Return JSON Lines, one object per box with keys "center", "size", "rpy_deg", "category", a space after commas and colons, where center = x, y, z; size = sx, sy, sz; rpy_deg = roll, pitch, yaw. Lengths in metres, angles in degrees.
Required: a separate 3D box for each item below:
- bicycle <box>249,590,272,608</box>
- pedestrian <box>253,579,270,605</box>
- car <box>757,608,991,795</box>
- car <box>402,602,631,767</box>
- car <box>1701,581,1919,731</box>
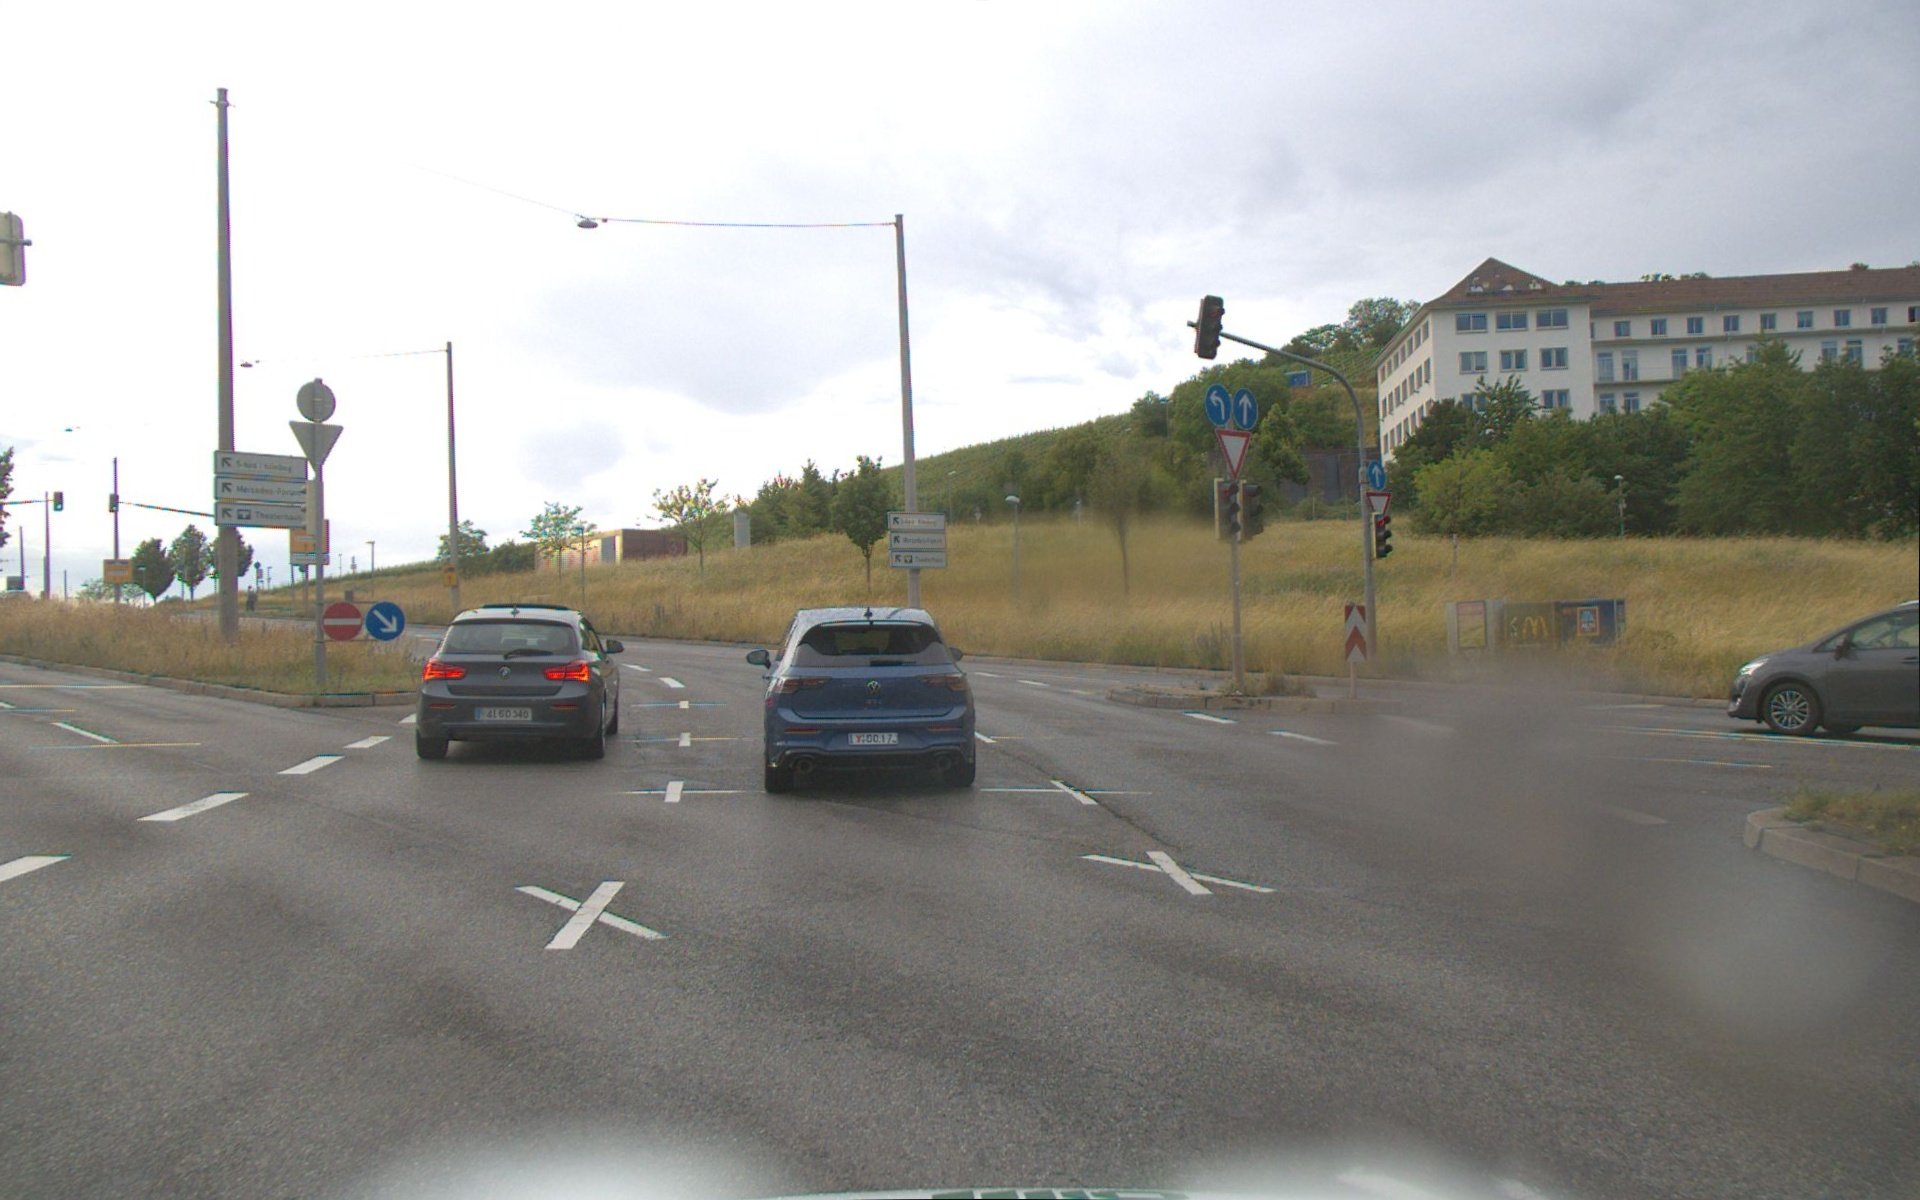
{"center": [-43.447, -0.060, 102.721], "size": [1.723, 1.124, 0.630], "rpy_deg": [-2, 0, 44], "category": "bicycle"}
{"center": [-43.358, -0.515, 102.639], "size": [0.880, 1.598, 0.630], "rpy_deg": [-2, -1, 44], "category": "pedestrian"}
{"center": [-0.872, 0.785, 14.684], "size": [1.803, 1.418, 3.994], "rpy_deg": [0, 0, -7], "category": "car"}
{"center": [-4.416, 0.787, 17.022], "size": [1.834, 1.487, 3.968], "rpy_deg": [0, -1, -9], "category": "car"}
{"center": [11.332, 0.672, 19.245], "size": [1.983, 1.671, 4.558], "rpy_deg": [3, -2, -42], "category": "car"}
